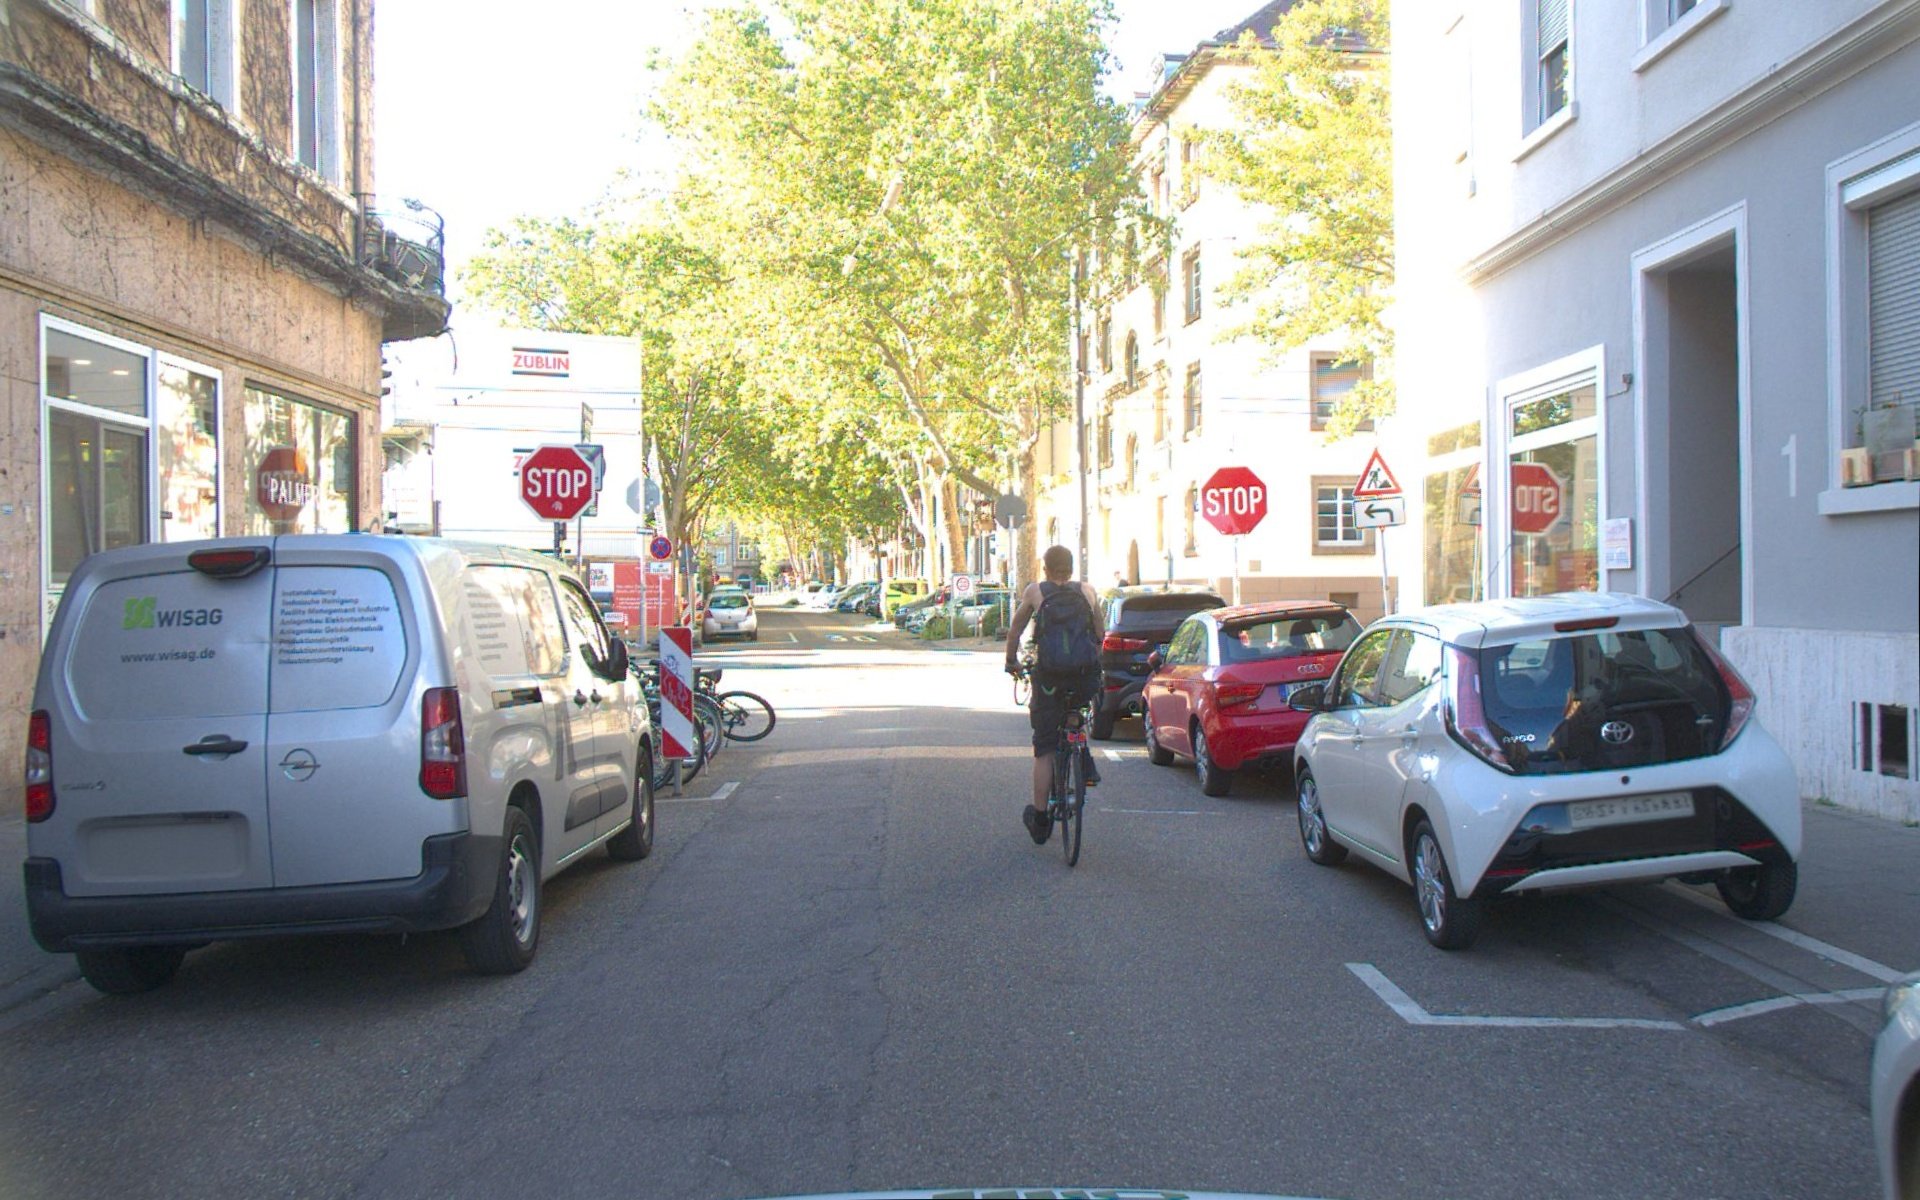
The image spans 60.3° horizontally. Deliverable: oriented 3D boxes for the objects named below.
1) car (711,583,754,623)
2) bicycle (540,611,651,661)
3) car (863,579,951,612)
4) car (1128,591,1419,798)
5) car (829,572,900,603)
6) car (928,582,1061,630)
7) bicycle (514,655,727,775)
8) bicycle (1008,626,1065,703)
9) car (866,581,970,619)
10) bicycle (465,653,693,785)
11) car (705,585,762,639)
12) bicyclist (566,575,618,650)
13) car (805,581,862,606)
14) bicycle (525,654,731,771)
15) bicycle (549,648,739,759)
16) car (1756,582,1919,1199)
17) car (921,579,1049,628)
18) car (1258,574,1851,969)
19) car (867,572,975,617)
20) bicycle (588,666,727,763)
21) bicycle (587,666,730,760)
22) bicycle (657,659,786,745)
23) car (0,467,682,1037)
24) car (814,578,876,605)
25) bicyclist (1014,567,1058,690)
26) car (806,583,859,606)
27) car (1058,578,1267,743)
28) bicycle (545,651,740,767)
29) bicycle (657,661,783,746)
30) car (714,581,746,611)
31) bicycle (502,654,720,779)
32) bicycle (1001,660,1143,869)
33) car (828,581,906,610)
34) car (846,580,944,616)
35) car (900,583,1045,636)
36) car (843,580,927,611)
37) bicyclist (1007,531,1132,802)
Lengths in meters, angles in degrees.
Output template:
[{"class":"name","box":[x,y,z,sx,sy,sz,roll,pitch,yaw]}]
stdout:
[{"class":"car","box":[-9.407,0.103,68.202,1.635,1.590,3.991,-1,1,-10]},{"class":"bicycle","box":[-8.301,0.814,37.757,2.377,1.112,0.894,0,-1,-8]},{"class":"car","box":[-2.758,-0.243,85.725,4.379,1.598,1.725,-1,1,-9]},{"class":"car","box":[2.576,0.707,14.482,1.612,1.529,3.953,1,0,-3]},{"class":"car","box":[-6.097,-0.819,105.498,4.379,1.931,1.725,-1,0,-9]},{"class":"car","box":[1.185,0.180,57.548,4.379,1.598,1.725,-1,1,-9]},{"class":"bicycle","box":[-2.902,0.981,14.224,1.729,0.978,0.422,-1,0,-3]},{"class":"bicycle","box":[1.100,0.896,23.524,0.540,1.034,1.630,0,0,12]},{"class":"car","box":[-1.866,-0.024,72.397,4.379,1.598,1.725,-1,1,-9]},{"class":"bicycle","box":[-3.057,0.952,13.352,1.729,1.006,0.463,-1,0,-2]},{"class":"car","box":[-7.152,0.344,51.959,1.614,1.520,3.991,-3,1,-10]},{"class":"bicyclist","box":[-8.391,0.285,37.755,1.076,1.668,0.894,0,-1,-8]},{"class":"car","box":[-10.046,-0.548,131.215,4.379,1.931,1.725,-1,0,-9]},{"class":"bicycle","box":[-2.920,0.985,14.641,1.729,0.978,0.443,-1,0,-3]},{"class":"bicycle","box":[-2.977,0.972,15.684,1.732,0.978,0.427,-1,0,-9]},{"class":"car","box":[2.744,0.758,1.771,1.645,1.537,4.188,1,0,-2]},{"class":"car","box":[0.894,0.098,59.611,4.379,1.700,1.725,-1,0,-9]},{"class":"car","box":[2.807,0.700,8.727,1.604,1.614,3.786,1,0,-3]},{"class":"car","box":[-1.686,-0.248,70.388,4.380,1.868,1.724,-1,0,-10]},{"class":"bicycle","box":[-2.941,1.108,16.107,1.285,0.832,0.380,-3,1,-11]},{"class":"bicycle","box":[-3.004,1.118,16.512,1.362,0.832,0.361,-3,1,-11]},{"class":"bicycle","box":[-2.452,1.038,16.991,1.285,0.832,0.354,-1,0,-11]},{"class":"car","box":[-2.600,0.526,8.200,1.645,1.943,4.518,-3,0,-1]},{"class":"car","box":[-8.440,-0.626,120.871,4.379,1.931,1.725,-1,0,-9]},{"class":"bicyclist","box":[1.077,0.396,23.376,0.530,1.717,0.654,0,0,11]},{"class":"car","box":[-10.820,-0.488,140.058,4.379,1.931,1.725,-1,0,-9]},{"class":"car","box":[2.239,0.619,19.370,1.725,1.691,4.195,1,0,-3]},{"class":"bicycle","box":[-2.925,0.989,15.253,1.734,0.978,0.480,-1,0,-14]},{"class":"bicycle","box":[-2.522,1.080,17.363,1.285,0.832,0.370,-1,0,-11]},{"class":"car","box":[-12.587,-0.250,90.391,1.635,1.590,4.606,-1,1,-10]},{"class":"bicycle","box":[-2.896,0.963,13.804,1.729,0.978,0.405,-1,0,-3]},{"class":"bicycle","box":[0.627,0.925,9.871,0.675,1.034,1.907,1,0,-1]},{"class":"car","box":[-5.421,-0.256,95.874,4.379,1.598,1.725,-1,1,-9]},{"class":"car","box":[-3.008,-0.115,76.204,4.379,1.598,1.725,-1,1,-9]},{"class":"car","box":[0.370,0.271,52.559,4.379,1.598,1.725,-1,1,-9]},{"class":"car","box":[-4.035,-0.236,88.770,4.379,1.598,1.725,-1,1,-9]},{"class":"bicyclist","box":[0.638,0.380,9.825,0.662,1.539,0.668,1,0,-1]}]
